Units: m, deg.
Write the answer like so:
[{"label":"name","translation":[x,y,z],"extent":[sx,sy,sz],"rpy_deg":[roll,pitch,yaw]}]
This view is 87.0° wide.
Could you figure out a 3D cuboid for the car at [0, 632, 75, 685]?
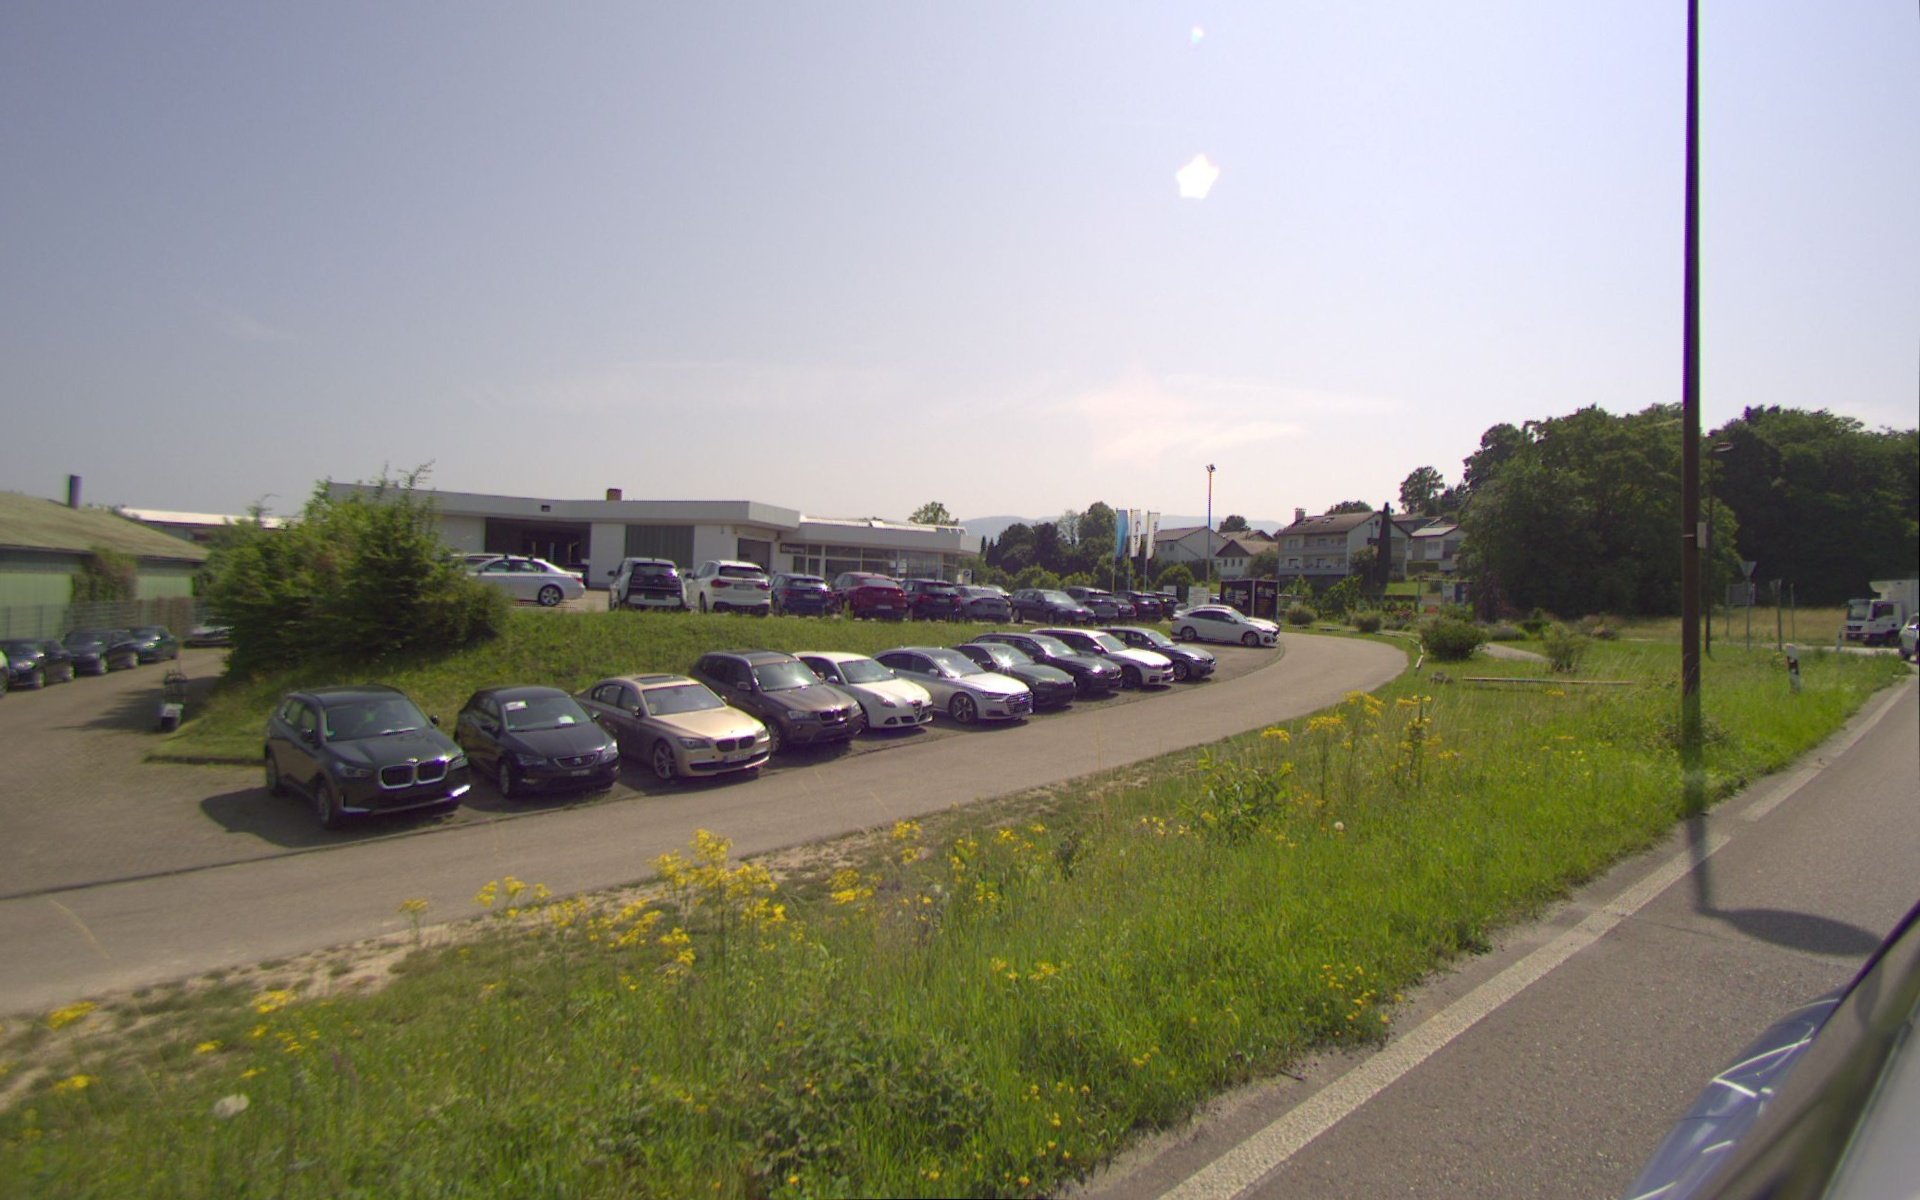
[{"label":"car","translation":[-27.707,1.680,29.846],"extent":[1.558,1.370,3.704],"rpy_deg":[0,0,-27]}]

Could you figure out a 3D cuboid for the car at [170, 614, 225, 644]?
[{"label":"car","translation":[-37.721,1.388,50.121],"extent":[1.558,1.370,3.704],"rpy_deg":[0,0,-27]}]

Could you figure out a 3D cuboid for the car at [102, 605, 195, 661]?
[{"label":"car","translation":[-31.807,1.230,39.782],"extent":[1.959,2.039,4.006],"rpy_deg":[0,0,-26]}]

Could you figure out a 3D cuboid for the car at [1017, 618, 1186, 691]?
[{"label":"car","translation":[4.109,1.523,29.685],"extent":[4.546,1.584,1.899],"rpy_deg":[4,4,36]}]

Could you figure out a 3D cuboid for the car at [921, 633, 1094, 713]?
[{"label":"car","translation":[1.152,1.778,25.889],"extent":[4.251,1.429,1.893],"rpy_deg":[5,5,44]}]

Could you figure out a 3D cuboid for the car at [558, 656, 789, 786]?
[{"label":"car","translation":[-5.347,2.061,18.508],"extent":[4.769,1.526,1.969],"rpy_deg":[4,4,44]}]

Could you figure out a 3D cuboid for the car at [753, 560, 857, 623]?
[{"label":"car","translation":[-4.819,-0.291,30.927],"extent":[1.801,1.769,4.475],"rpy_deg":[2,1,-27]}]

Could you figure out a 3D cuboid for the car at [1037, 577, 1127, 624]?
[{"label":"car","translation":[5.276,-0.007,44.167],"extent":[1.909,1.772,4.016],"rpy_deg":[2,2,-27]}]

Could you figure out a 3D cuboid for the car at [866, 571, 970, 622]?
[{"label":"car","translation":[-1.542,-0.169,35.480],"extent":[1.909,1.655,4.475],"rpy_deg":[2,1,-27]}]

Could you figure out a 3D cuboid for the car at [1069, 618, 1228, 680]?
[{"label":"car","translation":[5.845,1.482,31.502],"extent":[4.536,1.438,1.765],"rpy_deg":[3,4,31]}]

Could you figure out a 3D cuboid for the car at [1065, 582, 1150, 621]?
[{"label":"car","translation":[6.834,0.029,47.329],"extent":[1.909,1.518,4.016],"rpy_deg":[3,1,-27]}]

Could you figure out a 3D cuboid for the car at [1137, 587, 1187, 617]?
[{"label":"car","translation":[12.560,0.107,63.180],"extent":[1.871,1.701,3.824],"rpy_deg":[2,1,-7]}]

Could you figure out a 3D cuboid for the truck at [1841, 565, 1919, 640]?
[{"label":"truck","translation":[51.756,0.138,52.308],"extent":[8.903,3.878,2.883],"rpy_deg":[0,-1,18]}]

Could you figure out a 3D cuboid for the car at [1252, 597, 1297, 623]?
[{"label":"car","translation":[20.444,0.613,66.001],"extent":[1.876,1.531,4.370],"rpy_deg":[2,1,5]}]

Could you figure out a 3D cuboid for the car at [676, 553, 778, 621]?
[{"label":"car","translation":[-6.737,-0.389,28.907],"extent":[1.801,1.769,4.475],"rpy_deg":[2,1,-27]}]

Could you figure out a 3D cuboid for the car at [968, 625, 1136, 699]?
[{"label":"car","translation":[2.502,1.630,27.934],"extent":[4.237,1.500,1.899],"rpy_deg":[4,4,36]}]

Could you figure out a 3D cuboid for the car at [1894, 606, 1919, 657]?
[{"label":"car","translation":[32.577,1.036,32.970],"extent":[2.180,1.673,5.063],"rpy_deg":[0,-1,31]}]

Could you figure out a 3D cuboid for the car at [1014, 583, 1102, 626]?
[{"label":"car","translation":[3.901,0.155,41.070],"extent":[1.908,1.545,4.017],"rpy_deg":[2,1,-21]}]

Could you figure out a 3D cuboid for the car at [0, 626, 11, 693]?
[{"label":"car","translation":[-25.516,1.587,25.039],"extent":[1.883,1.752,4.322],"rpy_deg":[0,0,-28]}]

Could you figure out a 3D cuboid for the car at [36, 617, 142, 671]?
[{"label":"car","translation":[-29.649,1.455,34.576],"extent":[1.702,1.661,4.185],"rpy_deg":[0,0,-26]}]

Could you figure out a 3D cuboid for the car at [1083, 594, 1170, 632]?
[{"label":"car","translation":[8.076,0.597,49.578],"extent":[1.910,1.518,4.436],"rpy_deg":[1,3,-27]}]

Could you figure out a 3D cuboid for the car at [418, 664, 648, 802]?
[{"label":"car","translation":[-7.197,2.088,16.917],"extent":[3.982,1.571,1.972],"rpy_deg":[2,3,40]}]

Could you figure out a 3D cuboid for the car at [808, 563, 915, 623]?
[{"label":"car","translation":[-3.264,-0.258,32.789],"extent":[1.909,1.769,4.475],"rpy_deg":[2,1,-27]}]

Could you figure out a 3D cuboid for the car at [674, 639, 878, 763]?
[{"label":"car","translation":[-3.782,1.896,20.363],"extent":[4.250,1.769,1.969],"rpy_deg":[4,5,44]}]

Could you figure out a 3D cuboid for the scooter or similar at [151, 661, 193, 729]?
[{"label":"scooter or similar","translation":[-17.568,2.078,22.544],"extent":[0.612,1.330,1.977],"rpy_deg":[1,-1,-41]}]

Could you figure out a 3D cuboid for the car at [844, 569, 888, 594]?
[{"label":"car","translation":[-6.467,-1.288,69.164],"extent":[1.869,1.606,4.050],"rpy_deg":[2,1,-21]}]

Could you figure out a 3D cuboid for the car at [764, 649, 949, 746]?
[{"label":"car","translation":[-2.377,2.065,22.476],"extent":[4.250,1.483,1.844],"rpy_deg":[4,4,44]}]

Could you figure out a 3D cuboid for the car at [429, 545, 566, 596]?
[{"label":"car","translation":[-16.169,-1.014,35.491],"extent":[4.214,1.616,1.926],"rpy_deg":[2,1,-25]}]

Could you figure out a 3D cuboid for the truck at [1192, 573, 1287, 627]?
[{"label":"truck","translation":[15.078,-0.054,54.992],"extent":[1.908,2.698,5.639],"rpy_deg":[2,1,-21]}]

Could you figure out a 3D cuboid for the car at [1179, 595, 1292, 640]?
[{"label":"car","translation":[12.304,0.747,45.286],"extent":[4.616,1.590,1.754],"rpy_deg":[5,2,24]}]

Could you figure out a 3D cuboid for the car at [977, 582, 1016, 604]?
[{"label":"car","translation":[2.744,-0.536,77.601],"extent":[1.549,1.675,3.704],"rpy_deg":[0,0,-24]}]

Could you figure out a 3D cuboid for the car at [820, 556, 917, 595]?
[{"label":"car","translation":[-4.246,-1.131,47.237],"extent":[4.202,1.606,1.652],"rpy_deg":[2,0,12]}]

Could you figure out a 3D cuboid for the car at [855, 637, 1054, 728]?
[{"label":"car","translation":[-0.190,1.829,23.635],"extent":[4.410,1.483,1.898],"rpy_deg":[4,4,36]}]

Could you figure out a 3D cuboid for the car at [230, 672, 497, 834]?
[{"label":"car","translation":[-9.046,2.110,15.201],"extent":[4.475,1.660,2.117],"rpy_deg":[1,1,40]}]

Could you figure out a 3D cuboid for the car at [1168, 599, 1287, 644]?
[{"label":"car","translation":[11.223,0.869,42.603],"extent":[4.539,1.590,1.750],"rpy_deg":[3,2,30]}]

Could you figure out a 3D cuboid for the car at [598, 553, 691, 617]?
[{"label":"car","translation":[-8.591,-0.417,27.357],"extent":[1.732,1.552,3.894],"rpy_deg":[2,1,-27]}]

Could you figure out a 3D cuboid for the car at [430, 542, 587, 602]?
[{"label":"car","translation":[-13.747,-0.824,30.911],"extent":[4.214,1.616,1.926],"rpy_deg":[2,1,-25]}]

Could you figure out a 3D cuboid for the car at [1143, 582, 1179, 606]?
[{"label":"car","translation":[13.839,-0.444,69.895],"extent":[1.876,1.531,4.370],"rpy_deg":[2,1,5]}]

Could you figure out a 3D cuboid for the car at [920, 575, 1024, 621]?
[{"label":"car","translation":[0.353,-0.113,36.902],"extent":[1.909,1.518,4.475],"rpy_deg":[2,1,-27]}]
